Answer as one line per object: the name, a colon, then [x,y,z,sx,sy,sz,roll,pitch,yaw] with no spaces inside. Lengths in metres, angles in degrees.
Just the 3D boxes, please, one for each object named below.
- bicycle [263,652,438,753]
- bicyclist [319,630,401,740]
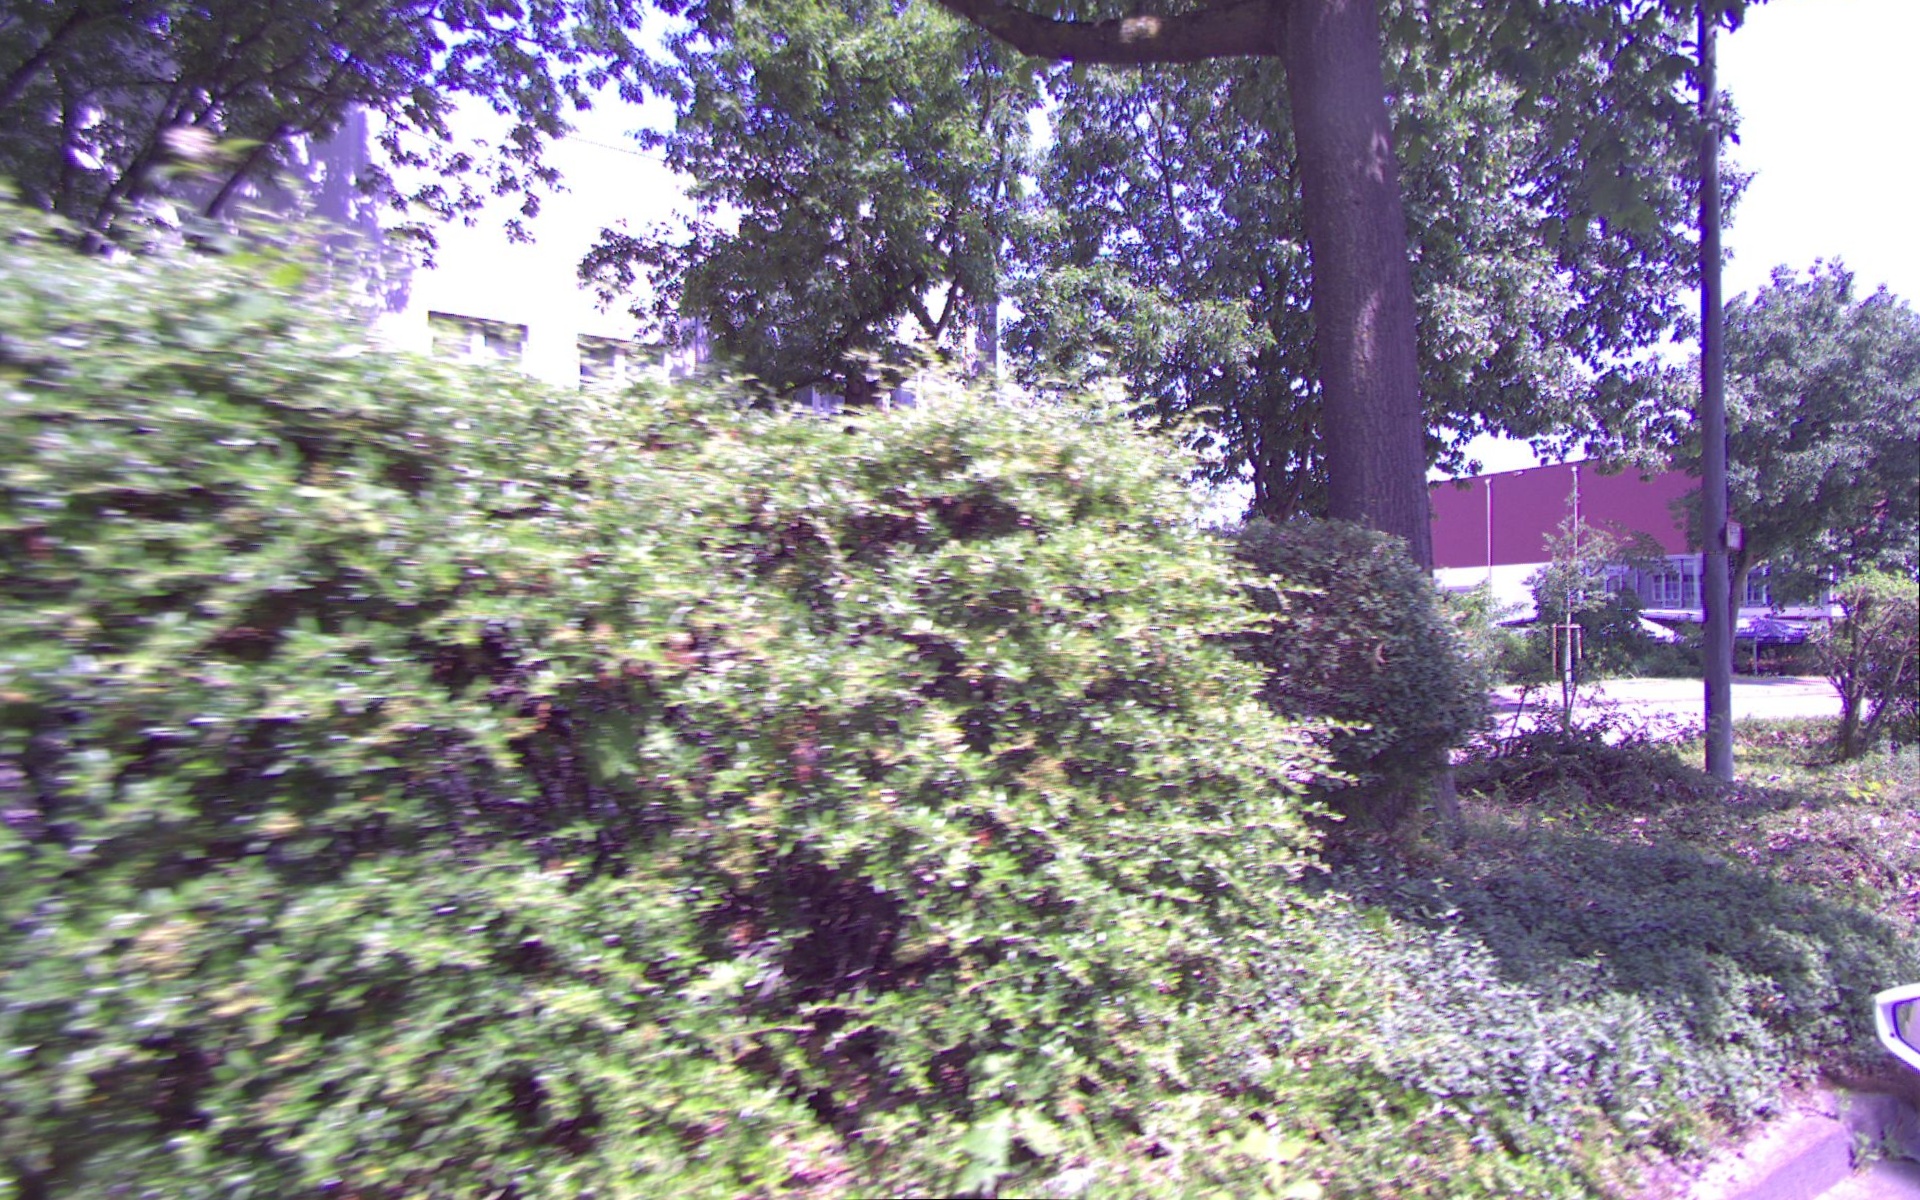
bicycle: [-7.311,1.214,12.133,1.741,1.134,0.518,2,-1,-31]
bicyclist: [-7.265,1.006,12.187,0.803,1.269,0.641,2,-1,-30]
